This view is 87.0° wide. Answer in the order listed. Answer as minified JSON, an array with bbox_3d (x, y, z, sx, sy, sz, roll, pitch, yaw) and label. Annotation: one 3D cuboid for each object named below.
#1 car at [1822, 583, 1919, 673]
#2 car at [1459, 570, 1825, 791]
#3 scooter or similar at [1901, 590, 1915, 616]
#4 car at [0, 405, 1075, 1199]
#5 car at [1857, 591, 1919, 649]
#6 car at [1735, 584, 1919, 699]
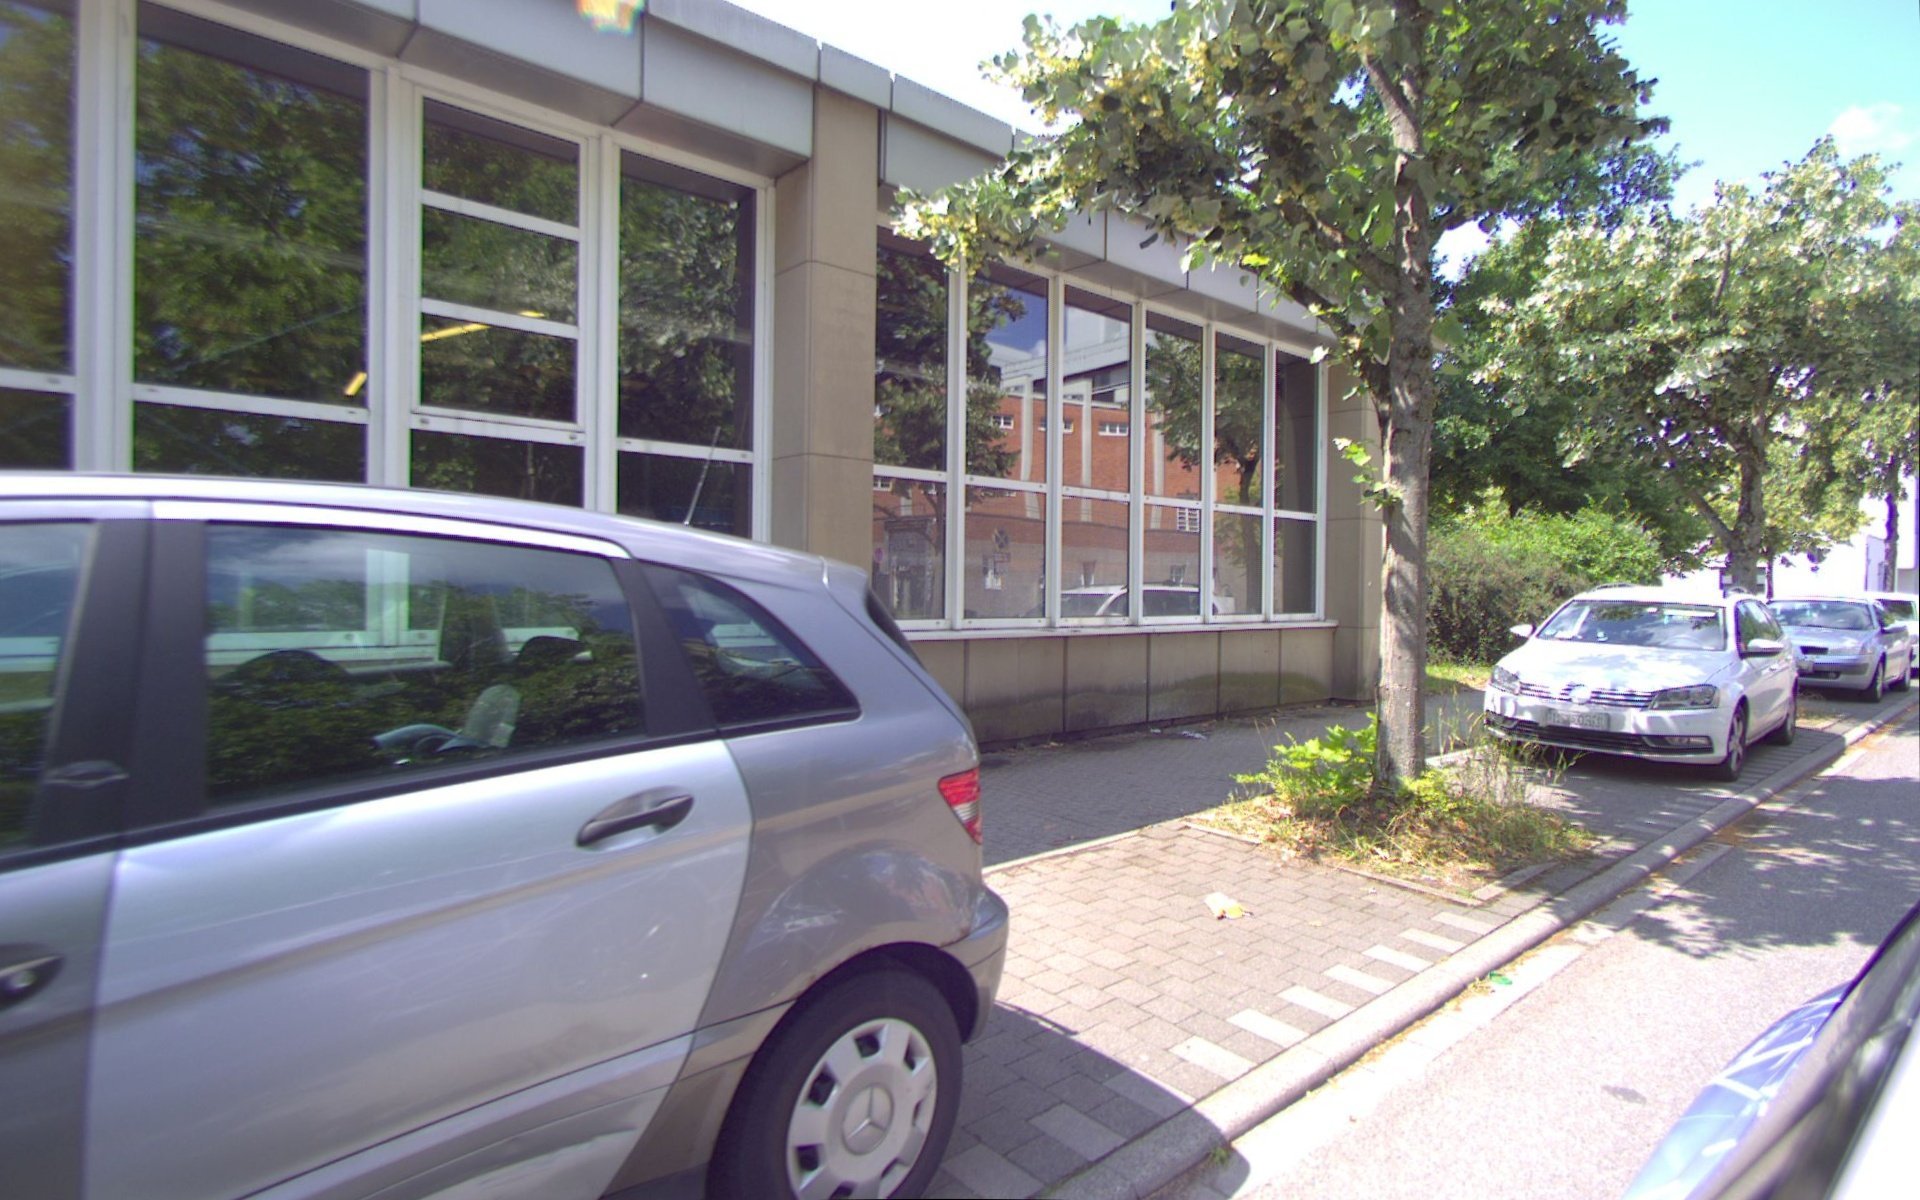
[{"bbox_3d":[17.180,0.449,18.619,3.922,1.484,1.589,-1,2,-44],"label":"car"},{"bbox_3d":[6.312,0.526,9.123,4.593,1.485,1.728,0,2,-43],"label":"car"},{"bbox_3d":[45.811,0.145,48.908,1.054,1.251,0.327,0,1,-39],"label":"scooter or similar"},{"bbox_3d":[-1.795,0.537,1.738,4.070,1.593,1.706,0,2,-43],"label":"car"},{"bbox_3d":[23.053,0.456,24.300,3.929,1.296,1.711,0,1,-40],"label":"car"},{"bbox_3d":[12.654,0.489,14.510,3.919,1.408,1.650,-1,2,-40],"label":"car"}]
